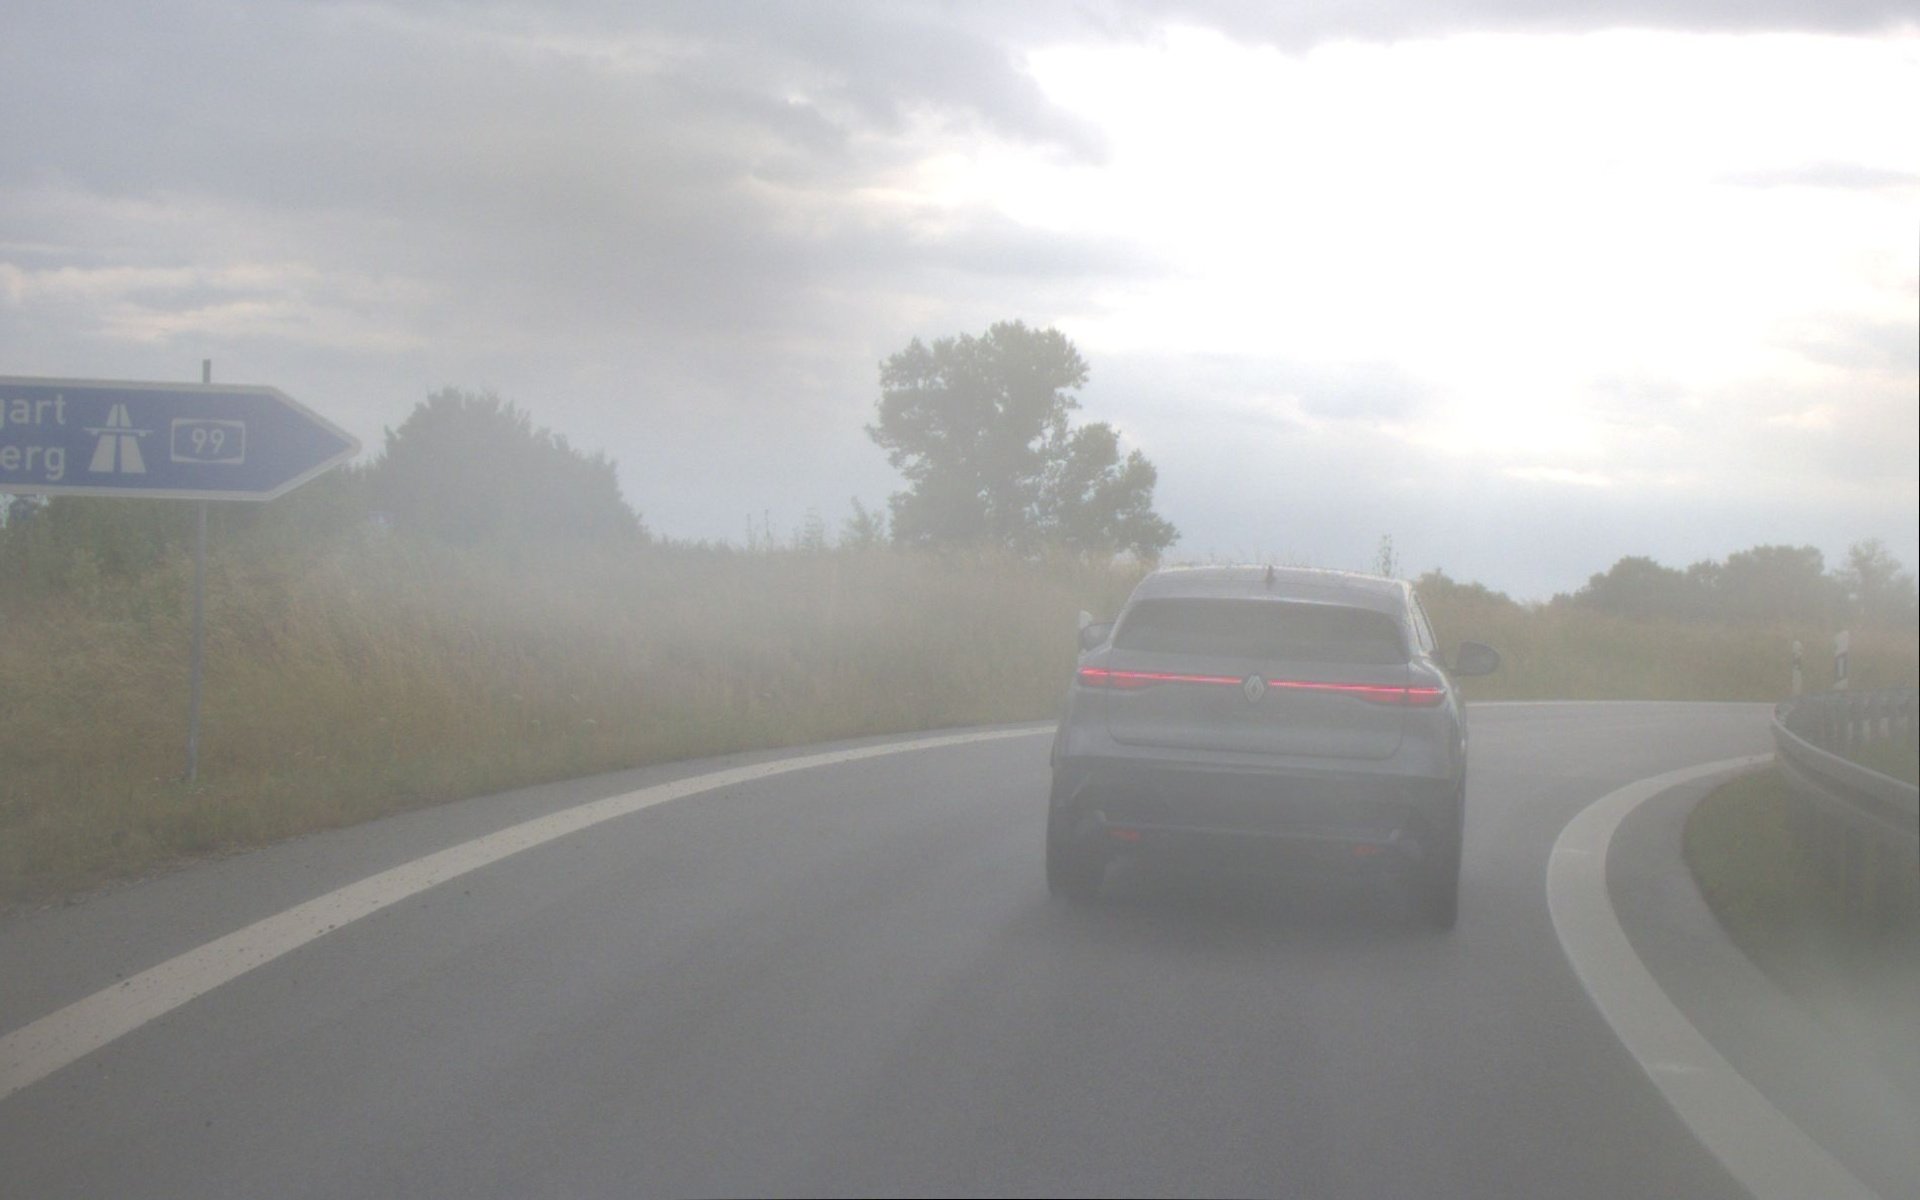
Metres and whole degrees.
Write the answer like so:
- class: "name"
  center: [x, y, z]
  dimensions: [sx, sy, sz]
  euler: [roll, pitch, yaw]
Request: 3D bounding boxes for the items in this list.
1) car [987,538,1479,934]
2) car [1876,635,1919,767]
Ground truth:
- class: "car"
  center: [1.365, 0.528, 16.468]
  dimensions: [1.994, 1.561, 4.148]
  euler: [2, 1, 6]
- class: "car"
  center: [16.608, 1.649, 54.582]
  dimensions: [2.125, 2.011, 5.522]
  euler: [1, -1, 36]
